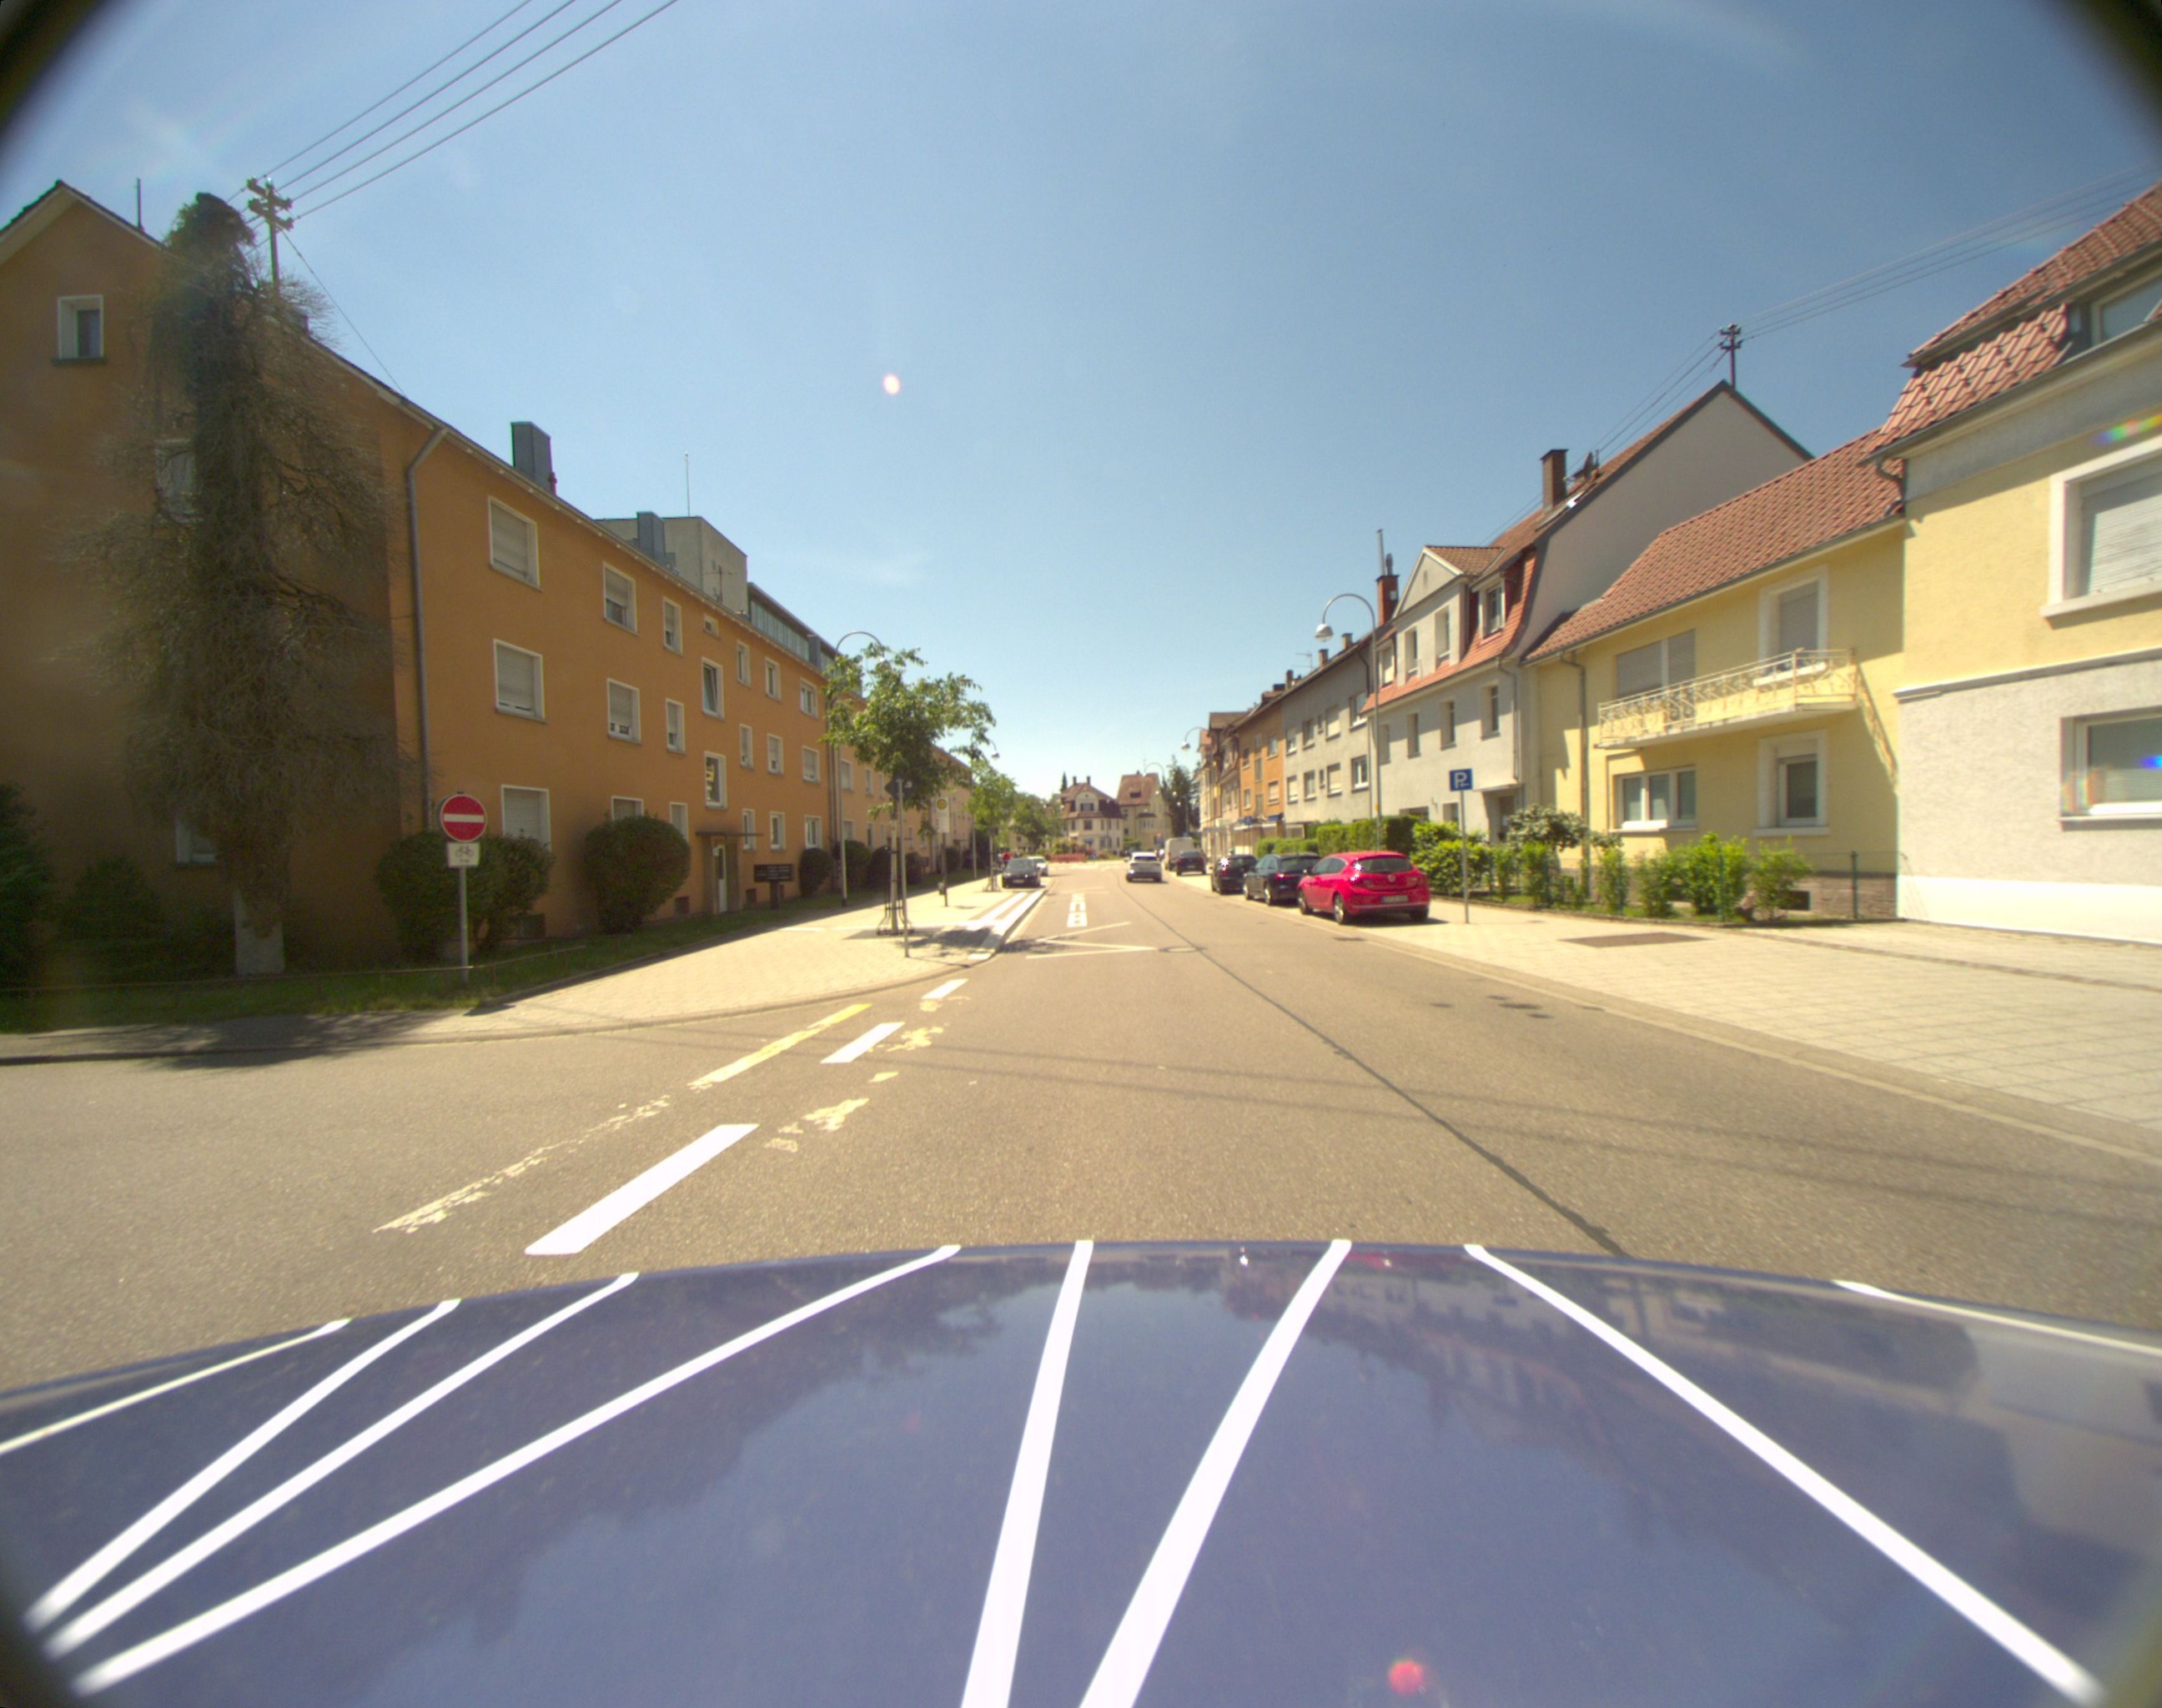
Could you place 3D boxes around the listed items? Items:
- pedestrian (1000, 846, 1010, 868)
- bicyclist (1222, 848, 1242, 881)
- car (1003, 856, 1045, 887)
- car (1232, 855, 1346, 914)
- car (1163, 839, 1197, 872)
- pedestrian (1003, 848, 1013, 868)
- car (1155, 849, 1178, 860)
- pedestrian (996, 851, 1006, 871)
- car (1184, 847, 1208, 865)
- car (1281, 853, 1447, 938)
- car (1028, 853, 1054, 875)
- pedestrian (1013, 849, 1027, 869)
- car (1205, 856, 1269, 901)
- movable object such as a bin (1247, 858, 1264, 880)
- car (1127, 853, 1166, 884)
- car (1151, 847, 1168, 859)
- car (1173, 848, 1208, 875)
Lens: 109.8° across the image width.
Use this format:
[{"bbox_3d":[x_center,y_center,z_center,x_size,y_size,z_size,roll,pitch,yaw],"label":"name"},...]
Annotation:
[{"bbox_3d":[-6.474,0.287,64.736,0.822,1.843,0.984,-2,1,-4],"label":"pedestrian"},{"bbox_3d":[7.829,0.543,39.409,0.784,1.650,0.835,-2,1,-2],"label":"bicyclist"},{"bbox_3d":[-2.905,0.862,39.484,1.838,1.495,5.063,0,0,0],"label":"car"},{"bbox_3d":[6.068,0.830,22.914,1.868,1.453,5.306,-4,0,0],"label":"car"},{"bbox_3d":[7.885,0.079,60.877,2.124,2.435,6.118,-4,1,3],"label":"car"},{"bbox_3d":[-6.516,0.378,67.972,0.790,1.801,1.005,1,1,-4],"label":"pedestrian"},{"bbox_3d":[11.331,0.015,100.354,1.732,1.403,4.007,0,0,26],"label":"car"},{"bbox_3d":[-7.220,0.653,68.389,0.796,1.768,1.008,-2,1,-4],"label":"pedestrian"},{"bbox_3d":[10.604,0.151,70.326,1.798,1.532,4.116,-3,0,4],"label":"car"},{"bbox_3d":[6.123,0.802,17.121,1.882,1.471,4.737,-4,0,0],"label":"car"},{"bbox_3d":[-3.014,0.702,56.117,1.818,1.468,4.504,-1,1,-4],"label":"car"},{"bbox_3d":[-5.472,0.434,68.408,1.174,1.723,1.190,1,2,-5],"label":"pedestrian"},{"bbox_3d":[5.898,0.868,29.176,1.792,1.450,4.198,-5,0,4],"label":"car"},{"bbox_3d":[8.514,0.715,37.017,0.674,1.042,0.652,-1,1,-1],"label":"movable object such as a bin"},{"bbox_3d":[3.567,0.767,42.053,1.882,1.587,4.360,0,0,2],"label":"car"},{"bbox_3d":[11.466,-0.127,110.899,1.800,1.481,4.388,-3,2,-1],"label":"car"},{"bbox_3d":[7.232,0.448,49.744,2.089,1.605,5.112,-3,0,9],"label":"car"}]
